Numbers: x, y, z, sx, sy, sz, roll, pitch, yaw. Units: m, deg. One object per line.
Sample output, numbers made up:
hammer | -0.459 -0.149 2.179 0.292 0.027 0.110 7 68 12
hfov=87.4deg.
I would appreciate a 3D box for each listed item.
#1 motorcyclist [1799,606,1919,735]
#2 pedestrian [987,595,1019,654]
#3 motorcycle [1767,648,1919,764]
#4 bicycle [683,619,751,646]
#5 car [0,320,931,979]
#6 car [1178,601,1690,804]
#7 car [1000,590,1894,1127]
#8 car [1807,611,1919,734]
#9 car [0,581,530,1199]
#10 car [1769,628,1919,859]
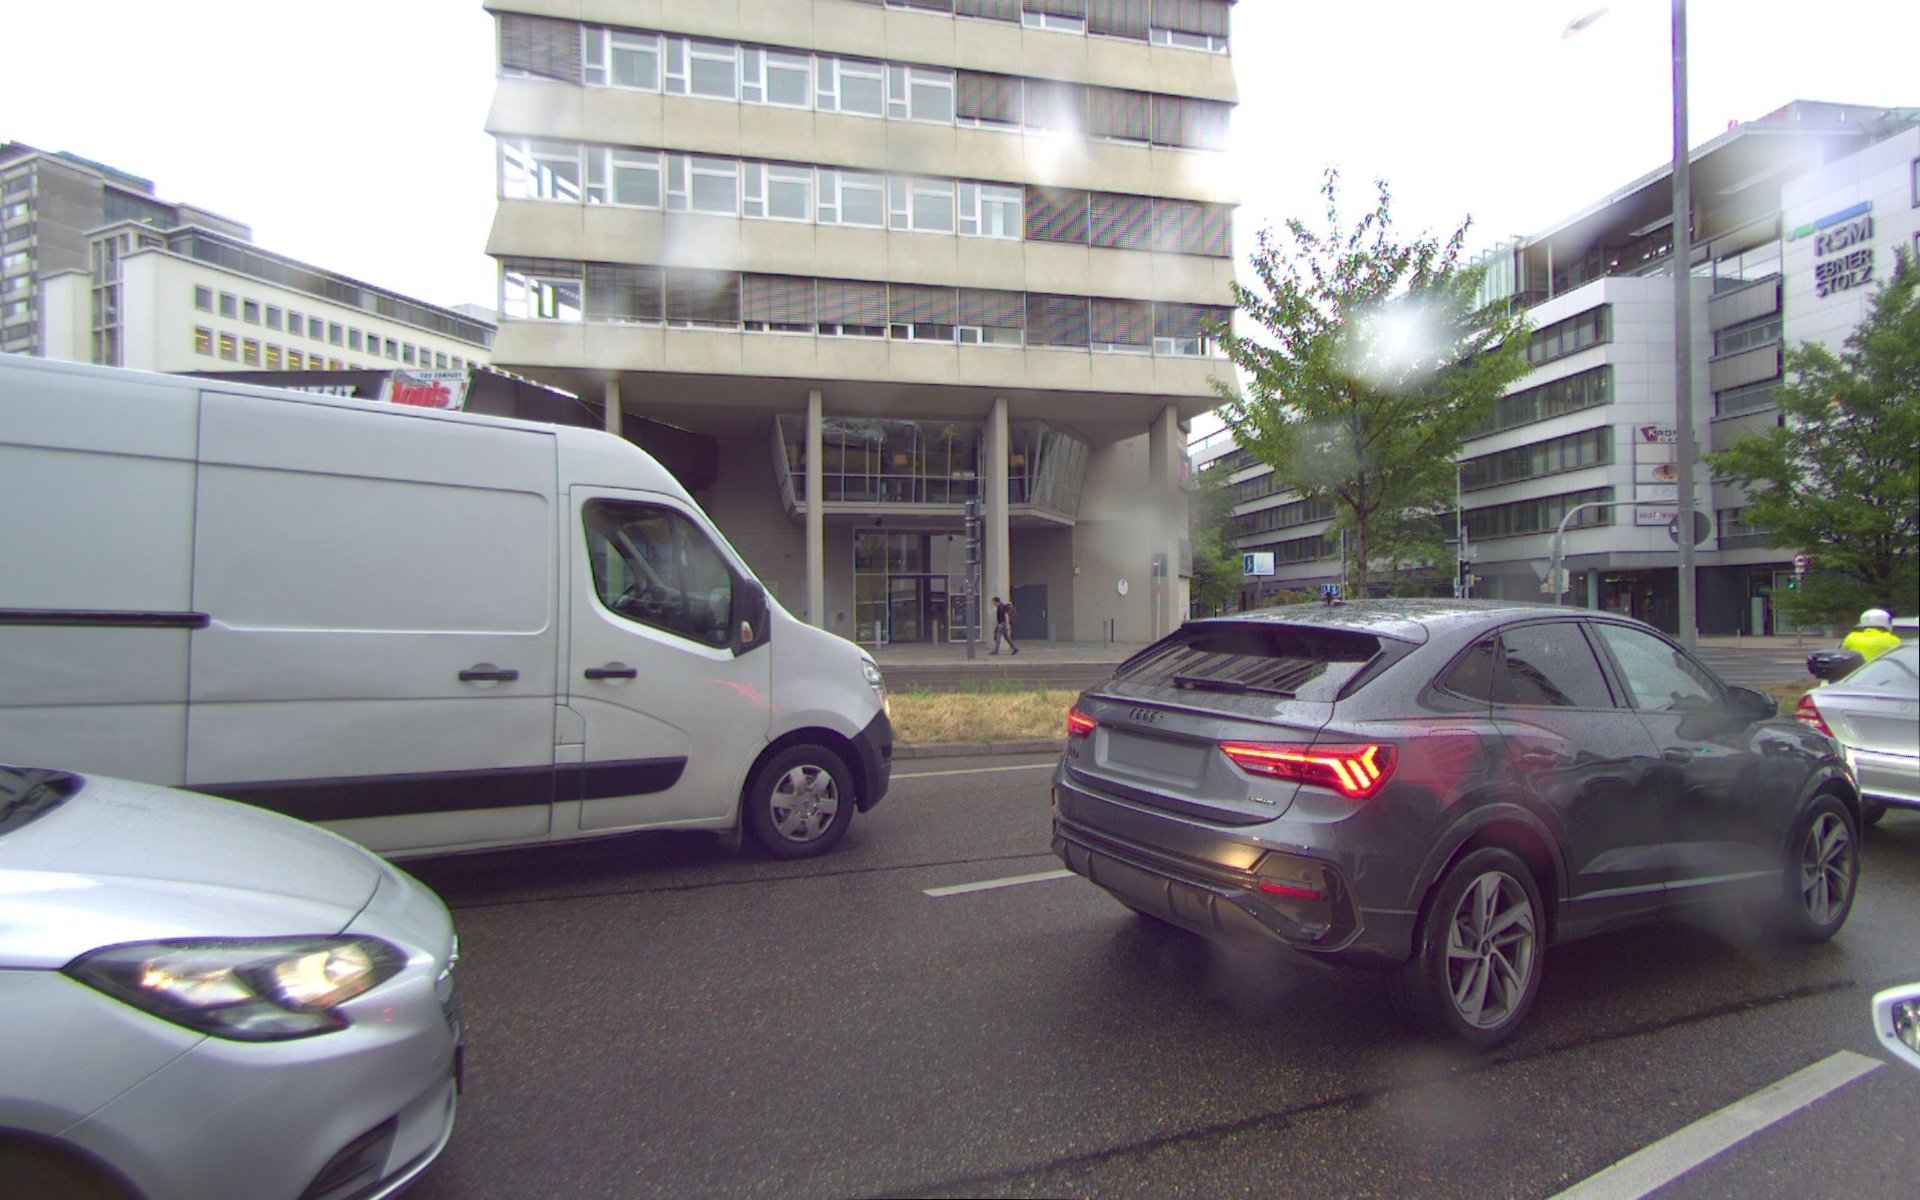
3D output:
motorcyclist | 10.427 0.792 11.516 1.101 1.398 0.769 2 0 -20
pedestrian | 1.267 0.706 29.424 0.751 1.706 0.677 1 0 -16
motorcycle | 10.315 1.179 11.474 1.998 1.200 0.799 2 0 -21
bicycle | -8.247 1.109 34.130 2.165 0.871 0.456 2 0 -31
car | -2.950 0.203 5.422 5.426 2.473 1.933 1 0 -36
car | 4.572 0.827 9.606 4.712 1.554 1.859 1 0 -25
car | 2.405 0.768 4.654 4.220 1.542 1.640 1 0 -30
car | 13.601 0.961 13.467 3.940 1.506 1.704 2 0 -21
car | -2.897 0.675 1.663 3.831 1.455 1.639 1 0 -32
car | 7.905 0.977 7.173 4.050 1.426 1.567 2 0 -23
